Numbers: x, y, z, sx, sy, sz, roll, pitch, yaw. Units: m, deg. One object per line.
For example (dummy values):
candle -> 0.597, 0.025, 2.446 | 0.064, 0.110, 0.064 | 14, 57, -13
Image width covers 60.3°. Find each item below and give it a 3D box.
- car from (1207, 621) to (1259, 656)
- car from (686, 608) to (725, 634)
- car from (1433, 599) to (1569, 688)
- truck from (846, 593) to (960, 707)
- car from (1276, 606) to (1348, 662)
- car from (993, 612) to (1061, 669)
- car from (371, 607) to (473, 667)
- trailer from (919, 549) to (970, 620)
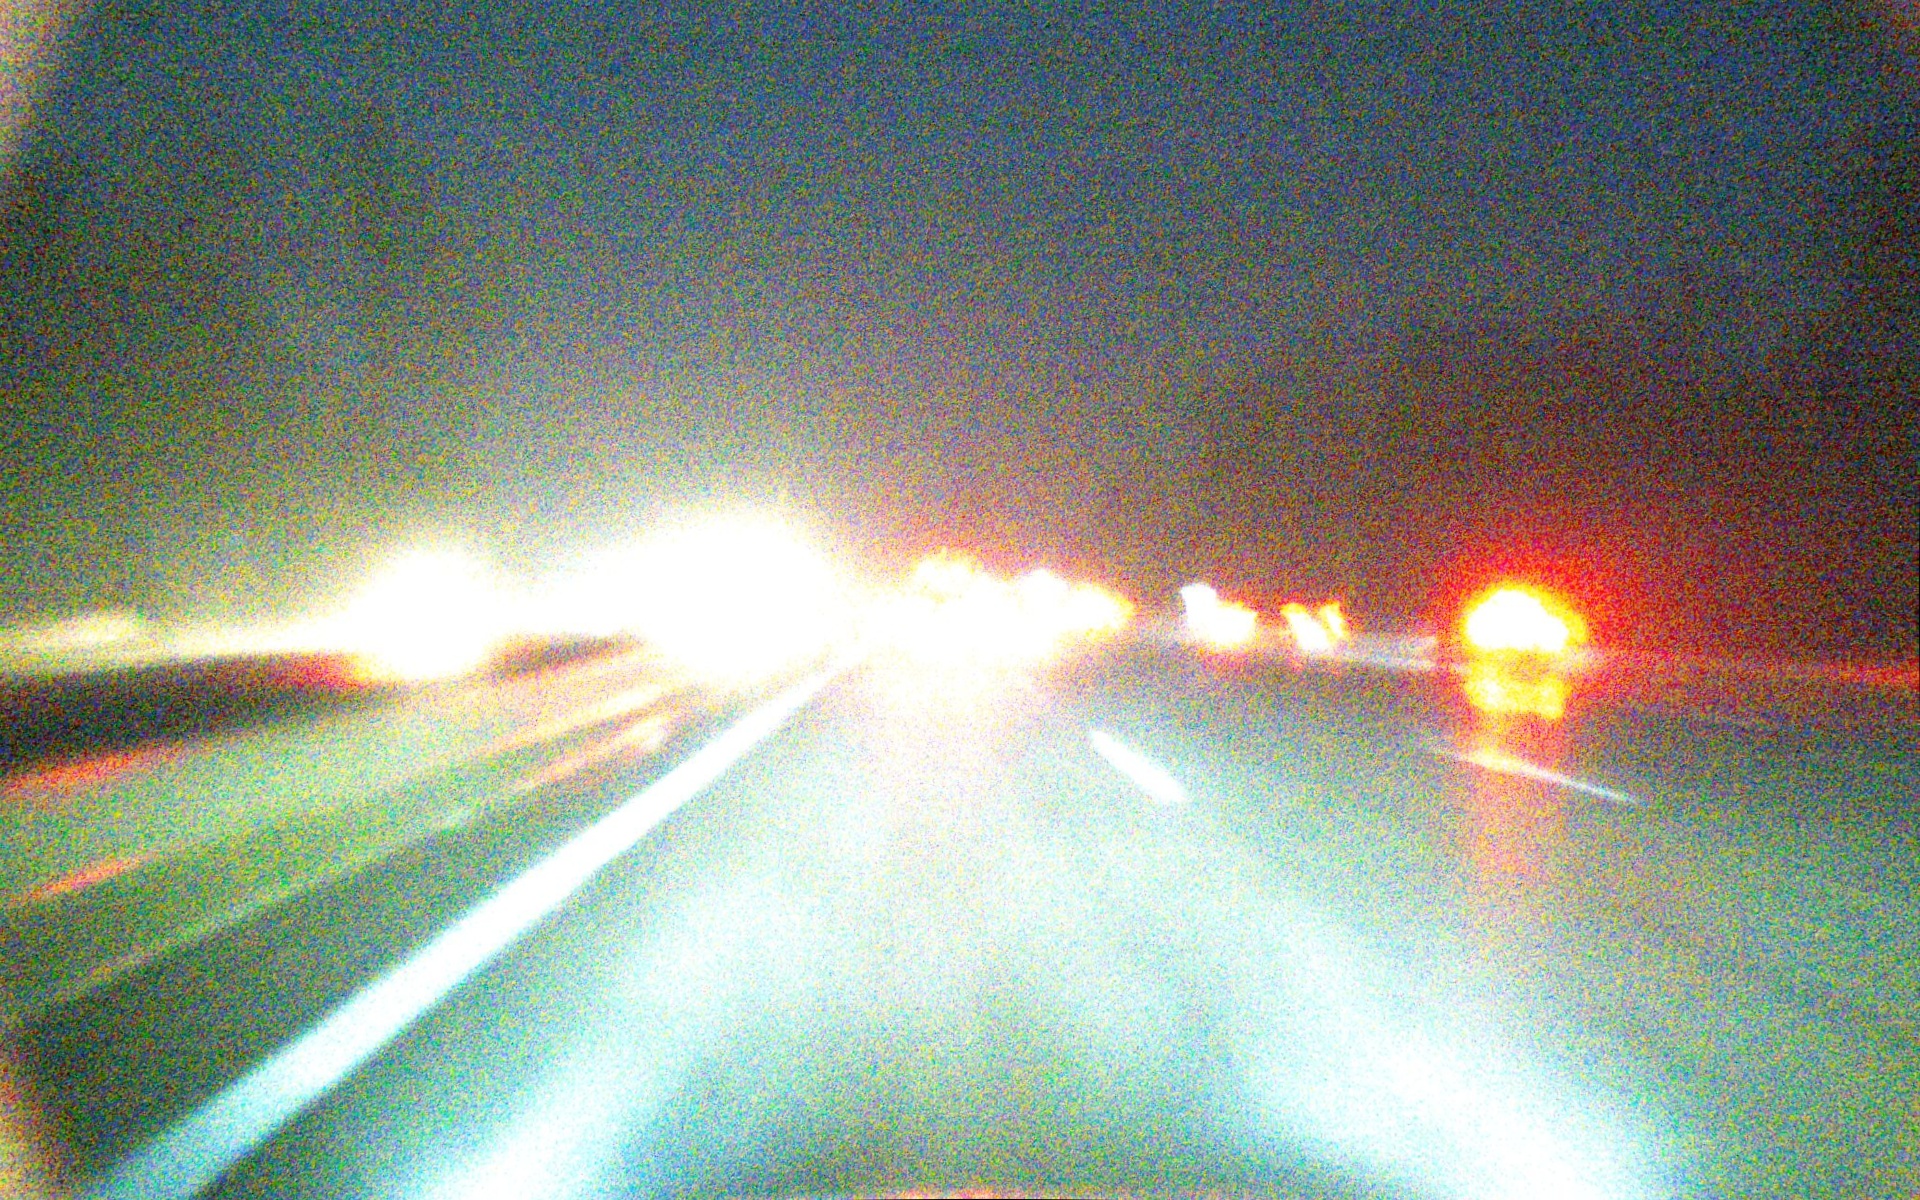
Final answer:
car -> 14.501, 2.021, 88.048 | 1.954, 1.628, 3.998 | 3, 0, -2
car -> -15.720, 1.277, 102.478 | 1.768, 1.431, 4.287 | 3, 0, -1
car -> 13.966, 1.056, 43.056 | 2.019, 2.049, 5.451 | 2, 0, 4
truck -> -1.169, 0.986, 35.597 | 2.102, 2.113, 6.602 | 3, 0, -1
car -> 13.889, 1.309, 65.505 | 2.186, 2.049, 4.002 | 2, 0, 4
car -> 2.039, 1.209, 51.187 | 1.764, 1.646, 4.255 | 0, 0, -2
car -> -17.664, 1.185, 54.511 | 1.953, 1.749, 4.287 | 3, 0, -1
trailer -> -1.349, -1.352, 129.769 | 2.686, 4.318, 13.366 | 3, 5, -6
